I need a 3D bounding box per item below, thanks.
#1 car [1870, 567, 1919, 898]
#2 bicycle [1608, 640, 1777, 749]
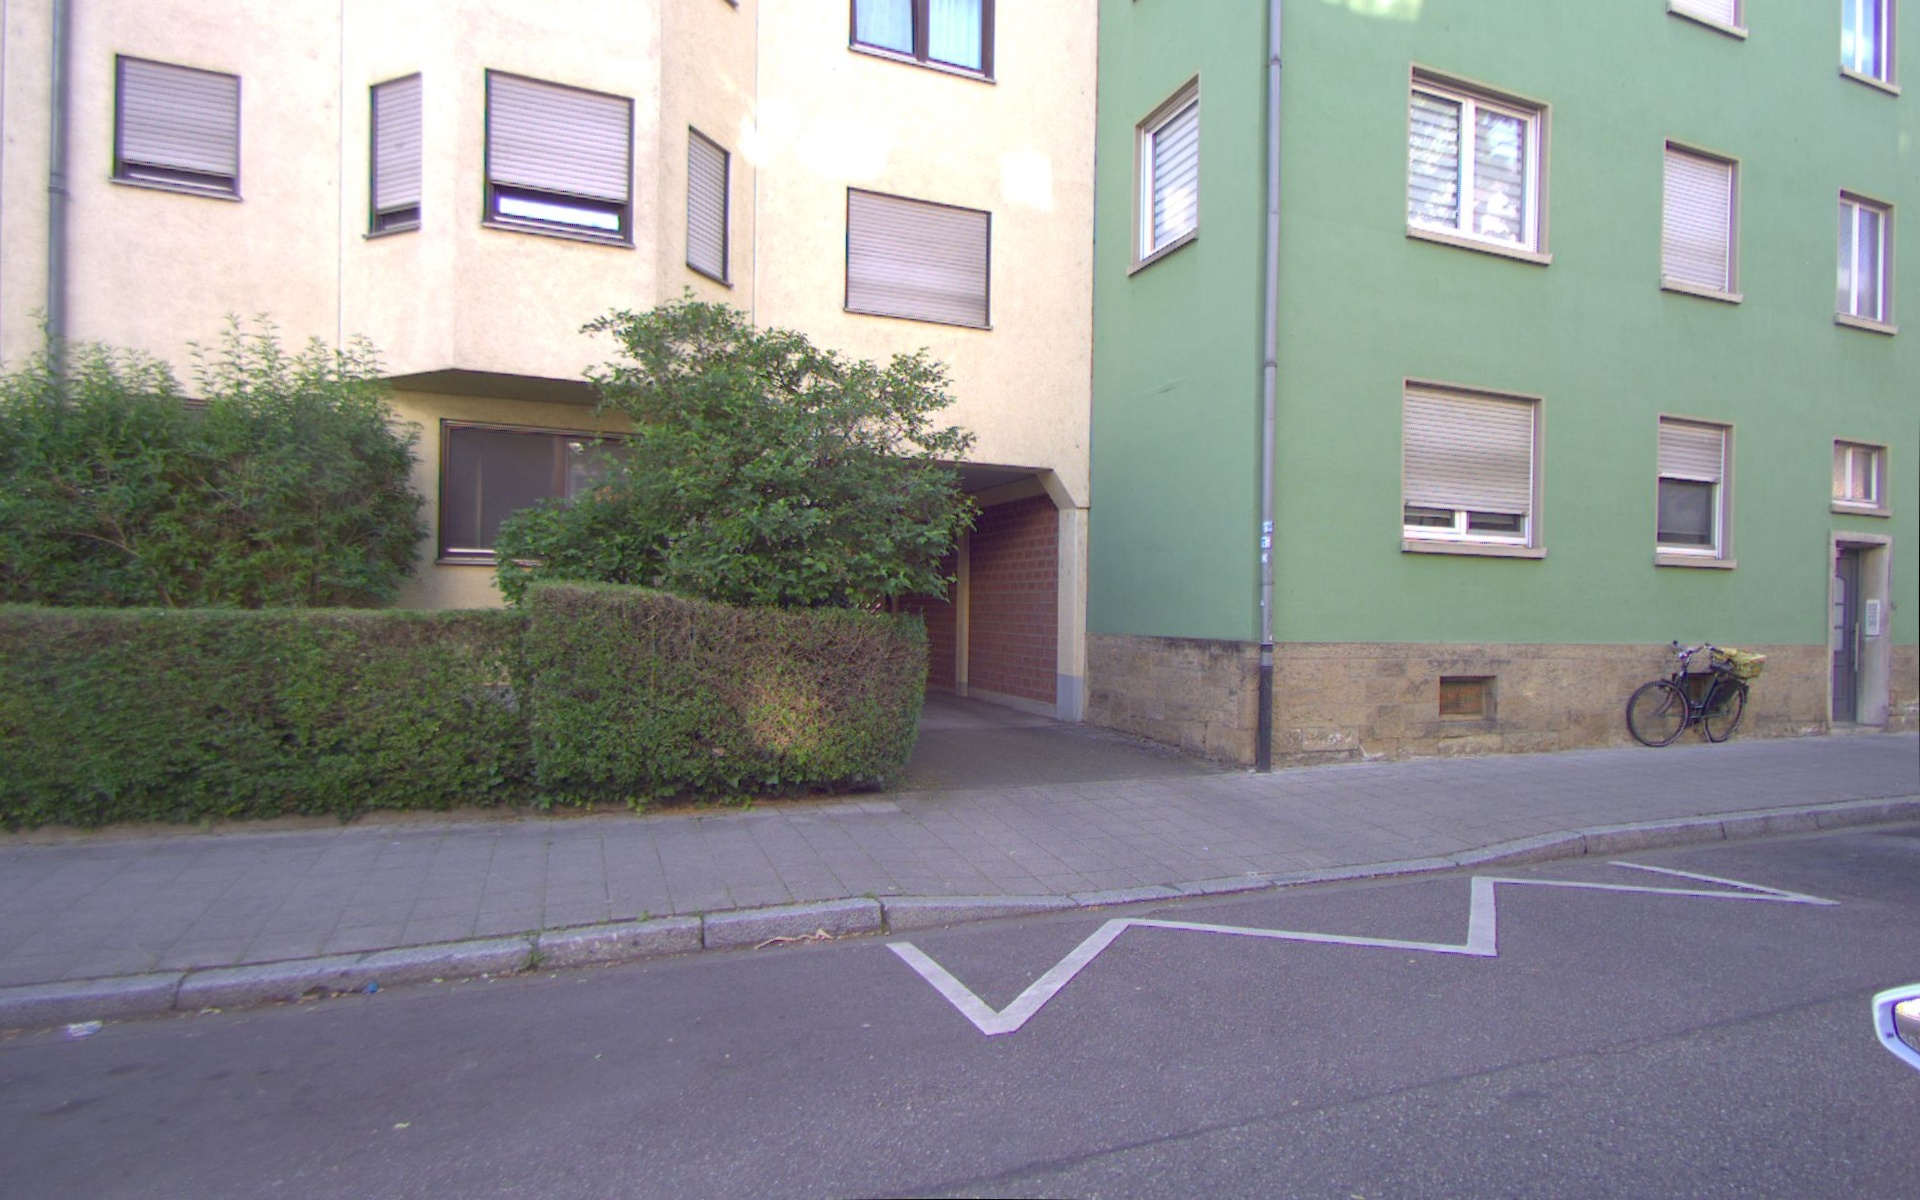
[{"bbox_3d":[7.644,0.747,5.332,4.334,1.867,1.775,1,-2,-8],"label":"car"},{"bbox_3d":[8.032,1.012,11.001,1.941,1.090,0.485,1,3,-22],"label":"bicycle"}]
